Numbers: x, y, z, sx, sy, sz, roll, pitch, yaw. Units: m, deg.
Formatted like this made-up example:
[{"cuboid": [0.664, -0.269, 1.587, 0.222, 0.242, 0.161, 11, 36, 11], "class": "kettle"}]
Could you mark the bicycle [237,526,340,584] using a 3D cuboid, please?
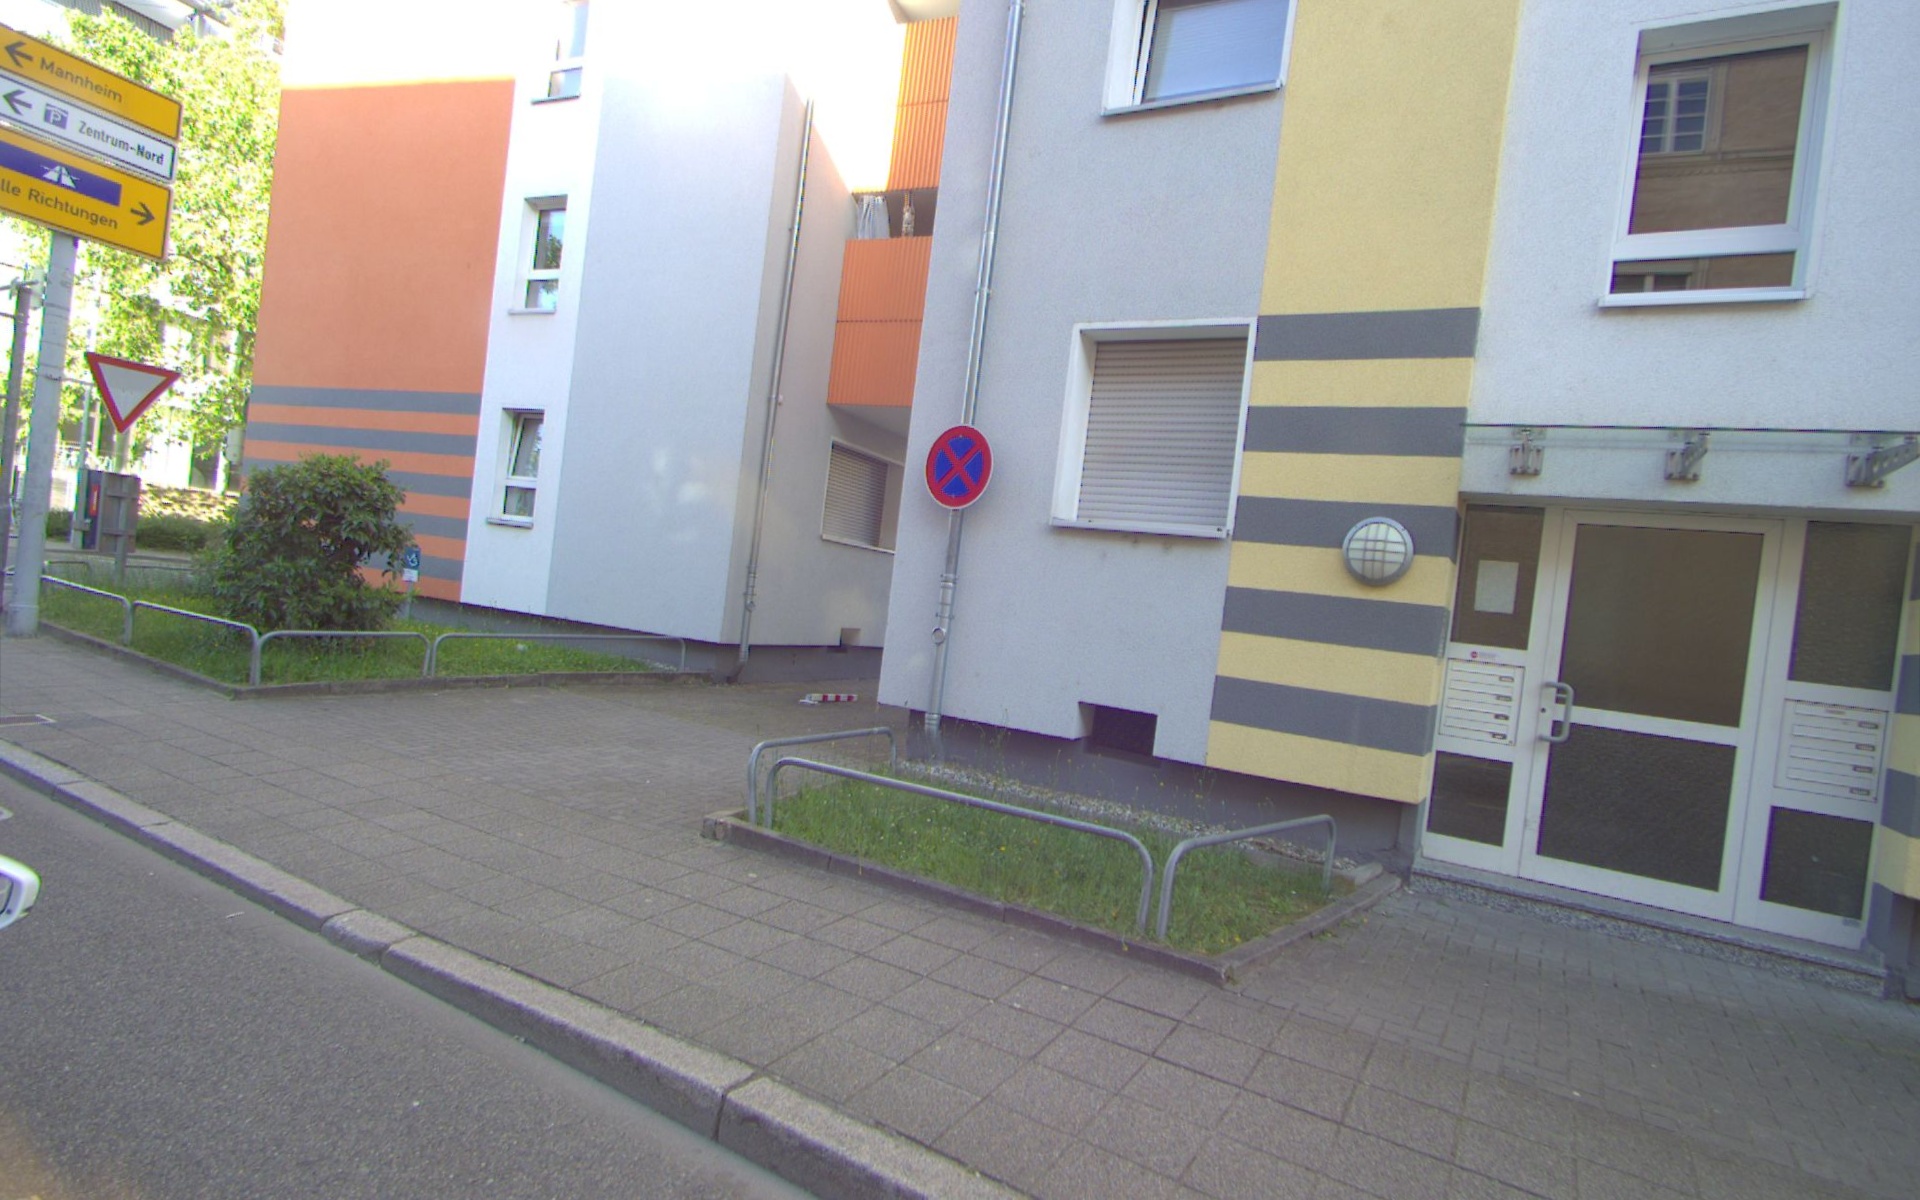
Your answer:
[{"cuboid": [-16.641, -1.101, 24.968, 0.583, 1.166, 1.963, 7, 0, 37], "class": "bicycle"}]

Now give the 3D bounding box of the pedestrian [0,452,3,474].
[{"cuboid": [-11.859, -0.889, 11.820, 0.710, 1.831, 0.698, 6, -1, 44], "class": "pedestrian"}]

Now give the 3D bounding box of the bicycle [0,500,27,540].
[{"cuboid": [-26.402, -2.245, 27.396, 1.409, 1.021, 0.379, 7, 1, -11], "class": "bicycle"}]

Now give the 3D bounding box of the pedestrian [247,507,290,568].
[{"cuboid": [-22.089, -1.990, 32.149, 0.637, 1.816, 0.766, 6, -1, 34], "class": "pedestrian"}]

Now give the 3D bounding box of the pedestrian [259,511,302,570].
[{"cuboid": [-21.466, -1.876, 31.787, 0.637, 1.739, 0.766, 6, -1, 34], "class": "pedestrian"}]
